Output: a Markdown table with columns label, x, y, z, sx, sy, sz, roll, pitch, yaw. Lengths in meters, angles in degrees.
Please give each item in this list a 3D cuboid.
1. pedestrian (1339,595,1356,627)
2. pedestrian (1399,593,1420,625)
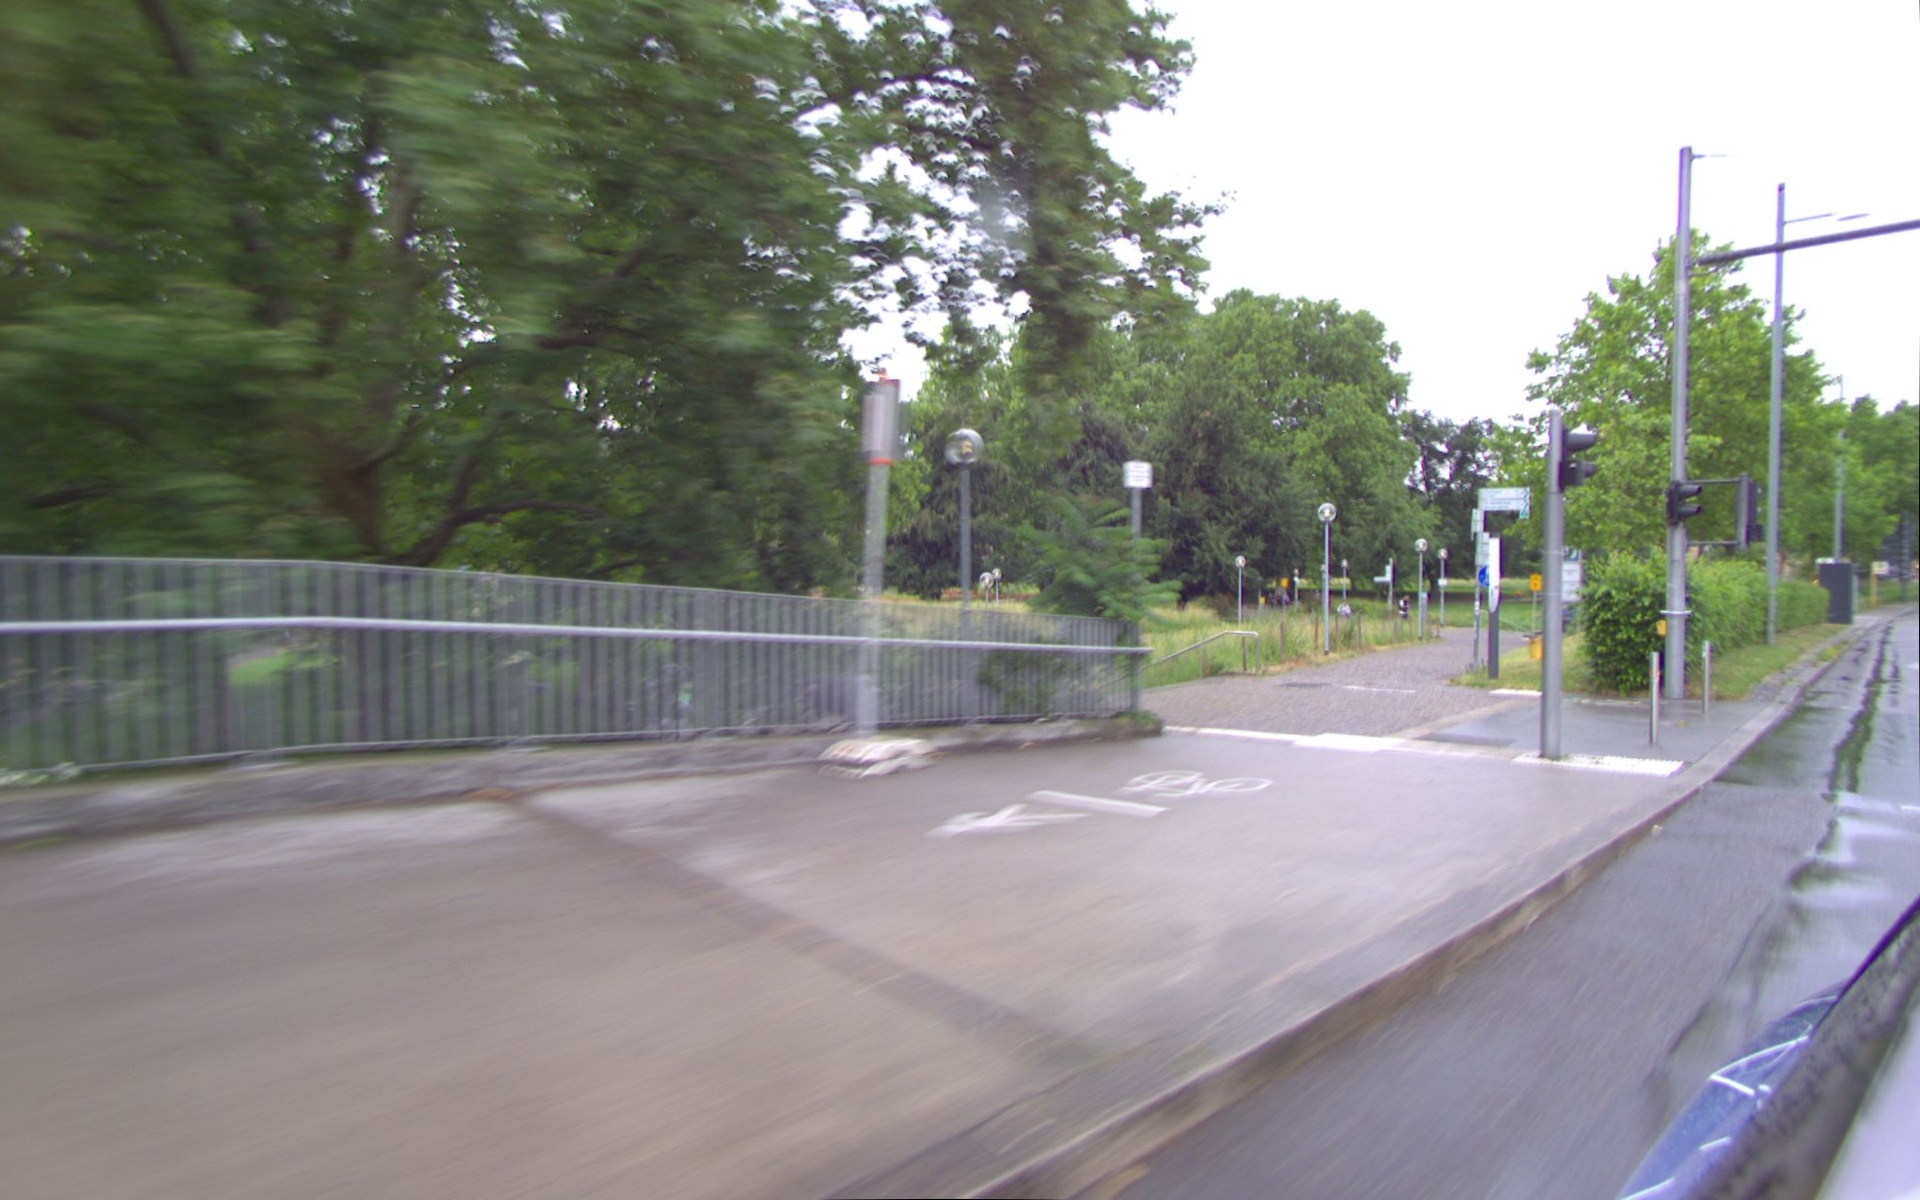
| label | x | y | z | sx | sy | sz | roll | pitch | yaw |
| --- | --- | --- | --- | --- | --- | --- | --- | --- | --- |
| pedestrian | 19.304 | 0.552 | 50.435 | 0.716 | 1.588 | 0.670 | -1 | 1 | 15 |
| pedestrian | 22.850 | 0.471 | 51.425 | 0.713 | 1.588 | 0.672 | -2 | 1 | -36 |
